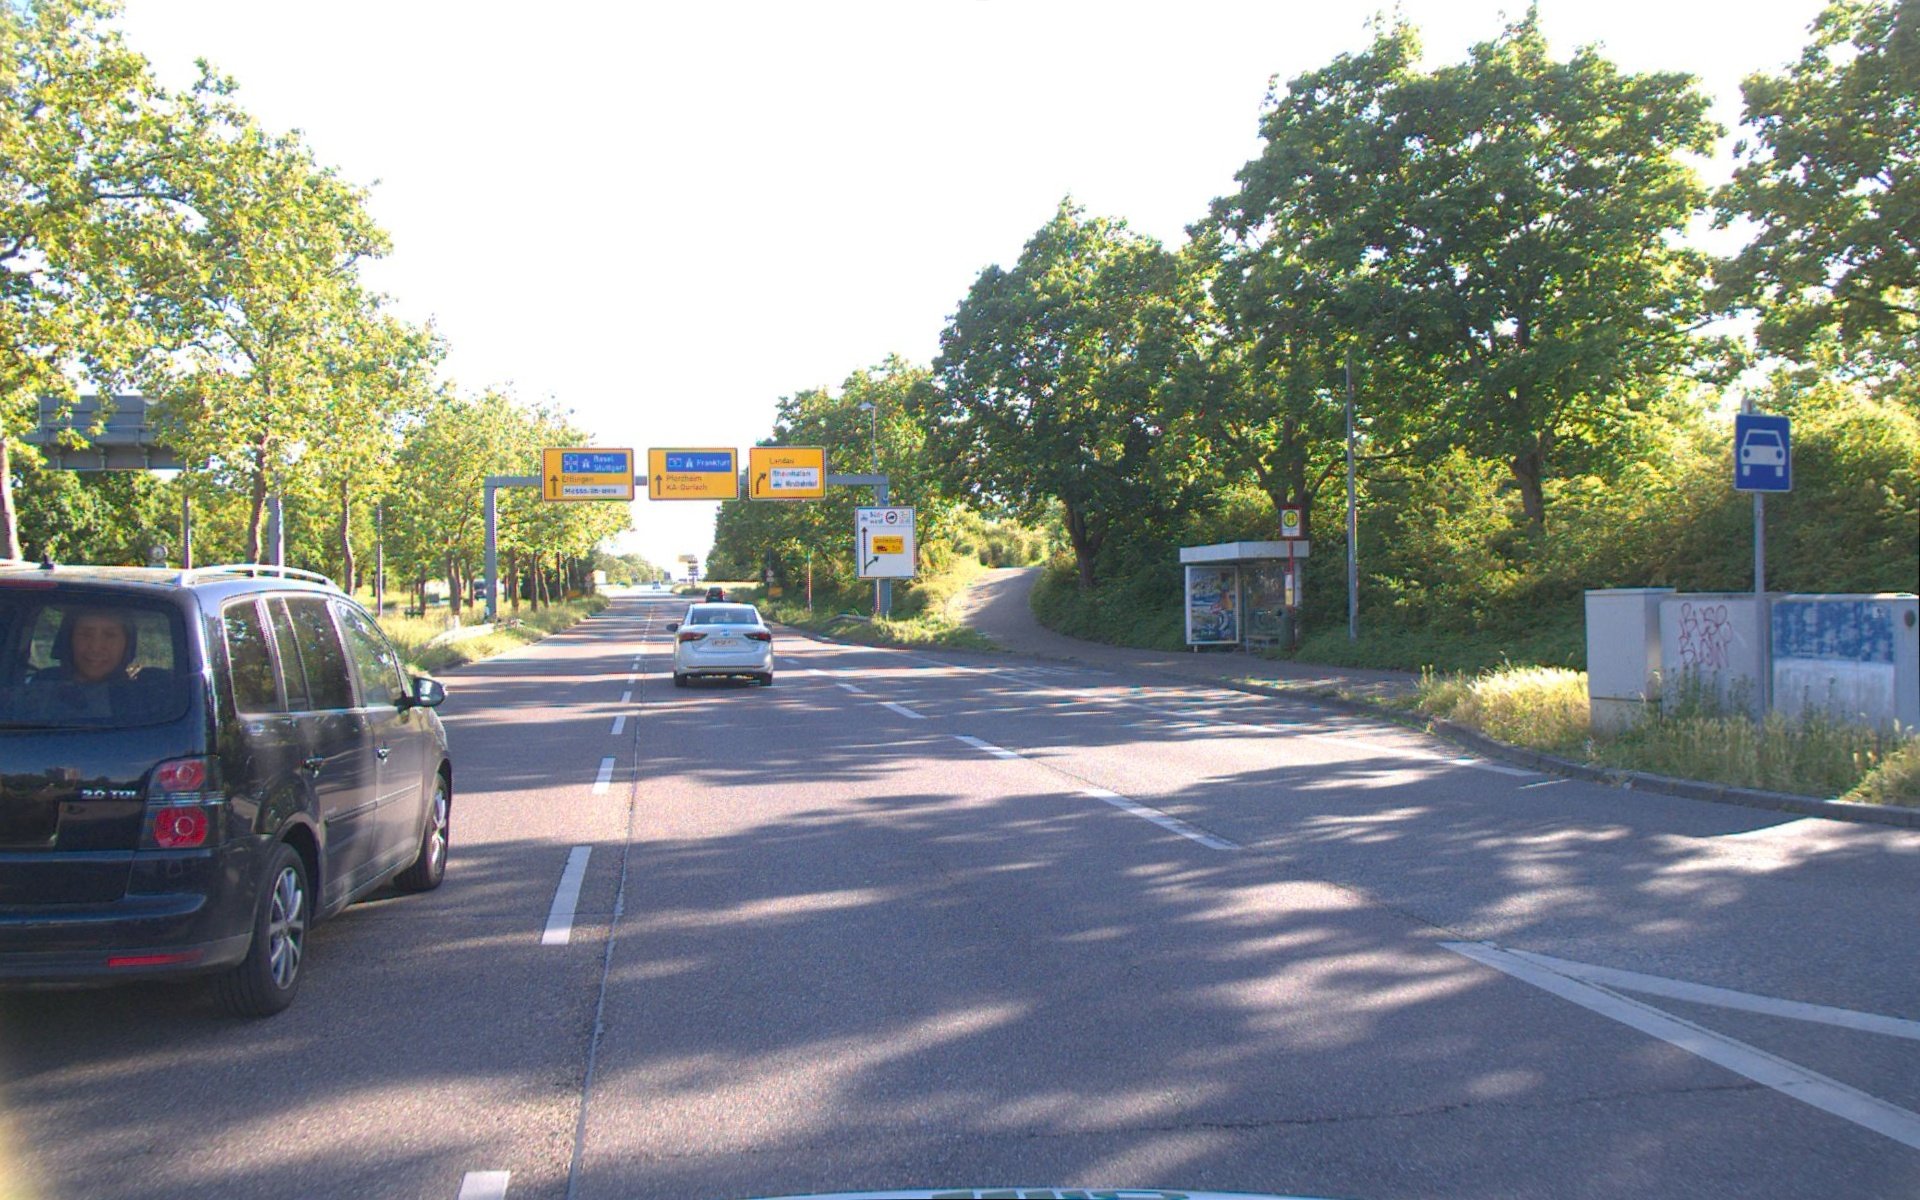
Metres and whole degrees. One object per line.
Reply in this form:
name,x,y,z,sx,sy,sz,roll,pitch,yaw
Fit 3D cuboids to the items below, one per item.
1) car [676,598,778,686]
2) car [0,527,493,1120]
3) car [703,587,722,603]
car,-4.381,0.720,30.905,1.735,1.489,4.357,-1,0,-9
car,-3.355,0.626,7.082,1.733,1.672,4.917,-1,0,-6
car,-23.652,-0.469,158.199,1.735,1.489,4.357,-1,0,-9
